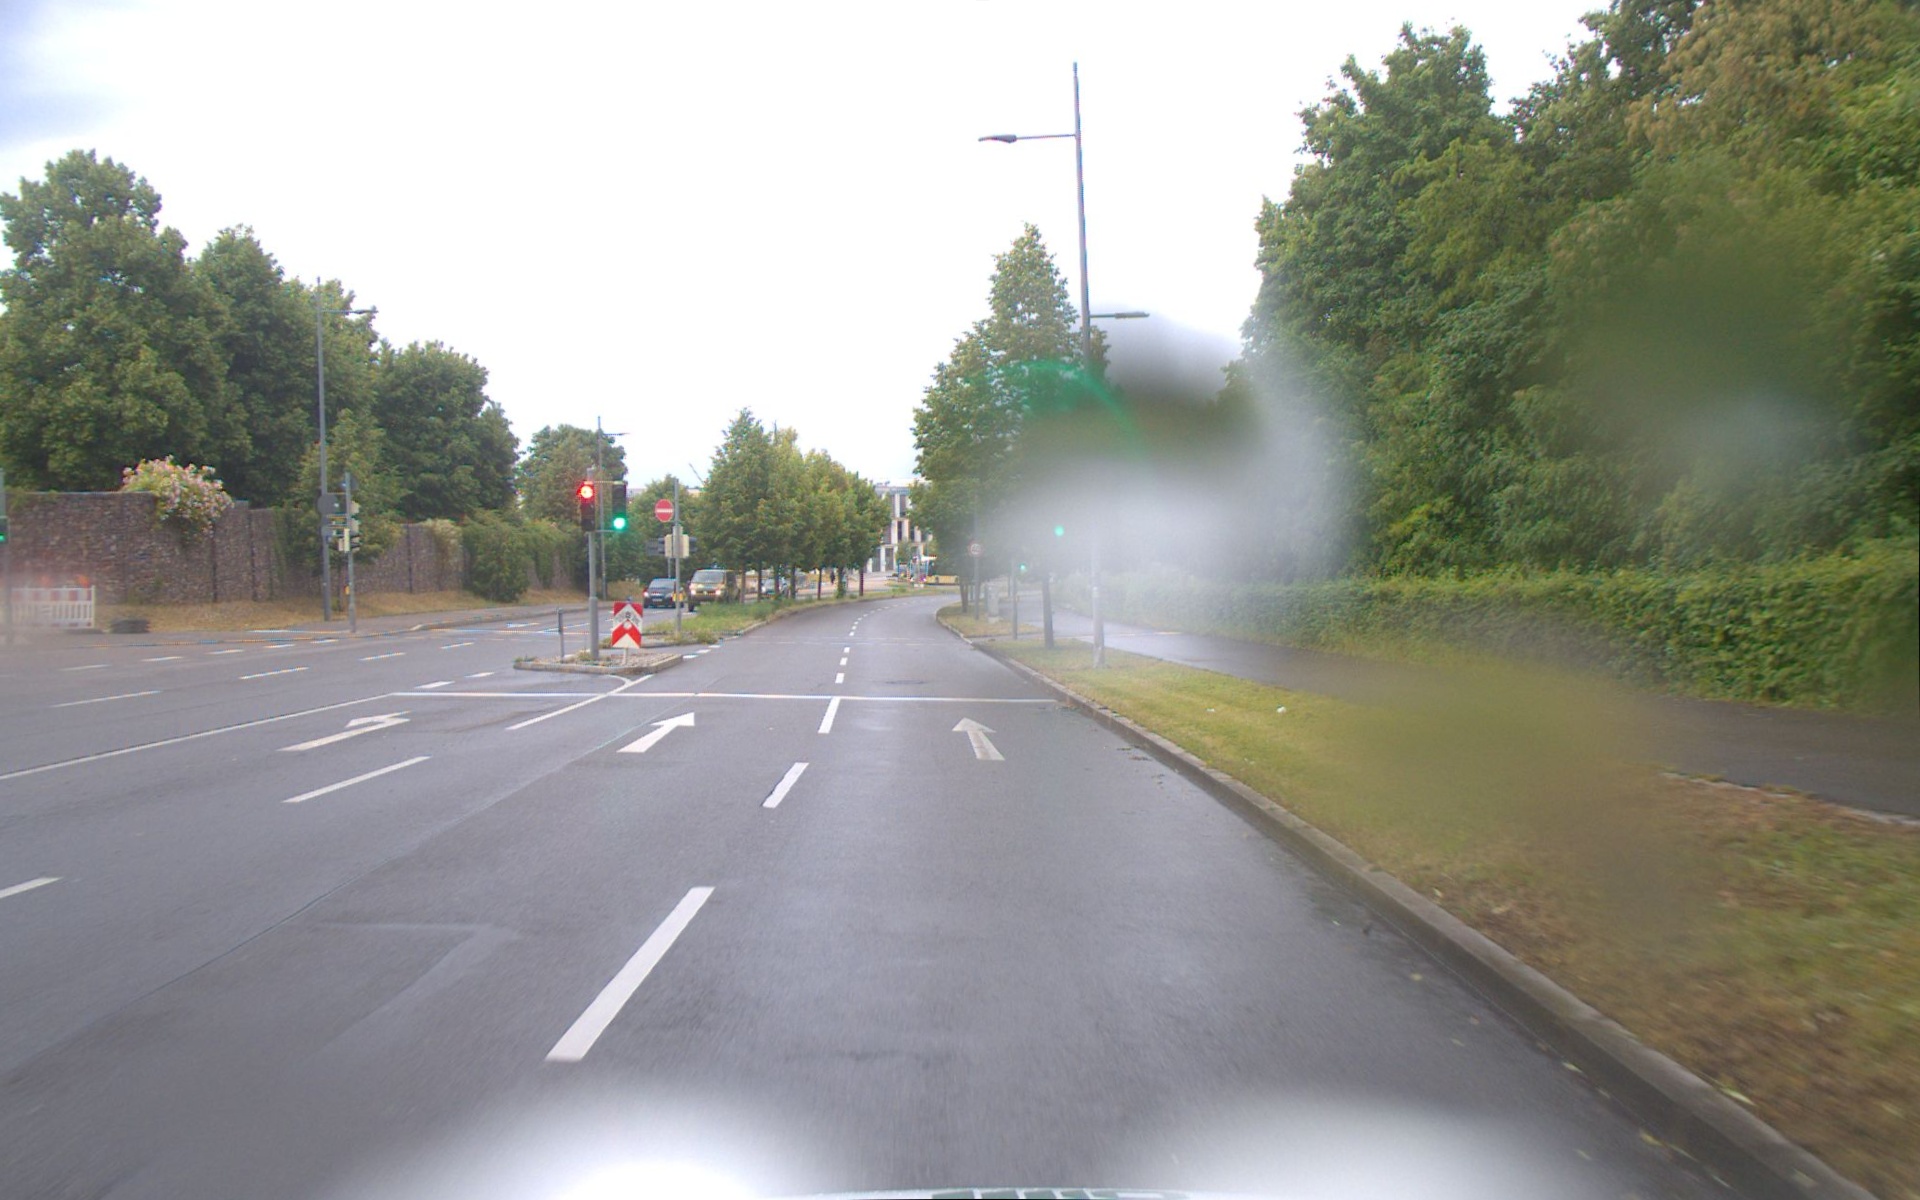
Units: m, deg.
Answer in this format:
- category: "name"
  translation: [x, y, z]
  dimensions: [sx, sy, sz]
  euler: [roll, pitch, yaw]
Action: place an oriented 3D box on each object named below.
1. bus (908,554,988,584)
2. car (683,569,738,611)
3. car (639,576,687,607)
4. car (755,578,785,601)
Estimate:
- category: "bus"
  translation: [-1.320, -3.876, 209.551]
  dimensions: [2.729, 3.416, 18.216]
  euler: [0, 0, 24]
- category: "car"
  translation: [-12.071, -0.481, 80.288]
  dimensions: [1.972, 1.952, 5.094]
  euler: [1, 1, -1]
- category: "car"
  translation: [-15.173, -0.449, 84.705]
  dimensions: [1.565, 1.515, 4.001]
  euler: [1, 1, 2]
- category: "car"
  translation: [-13.790, -0.786, 120.055]
  dimensions: [1.651, 1.566, 2.918]
  euler: [1, 2, 3]
